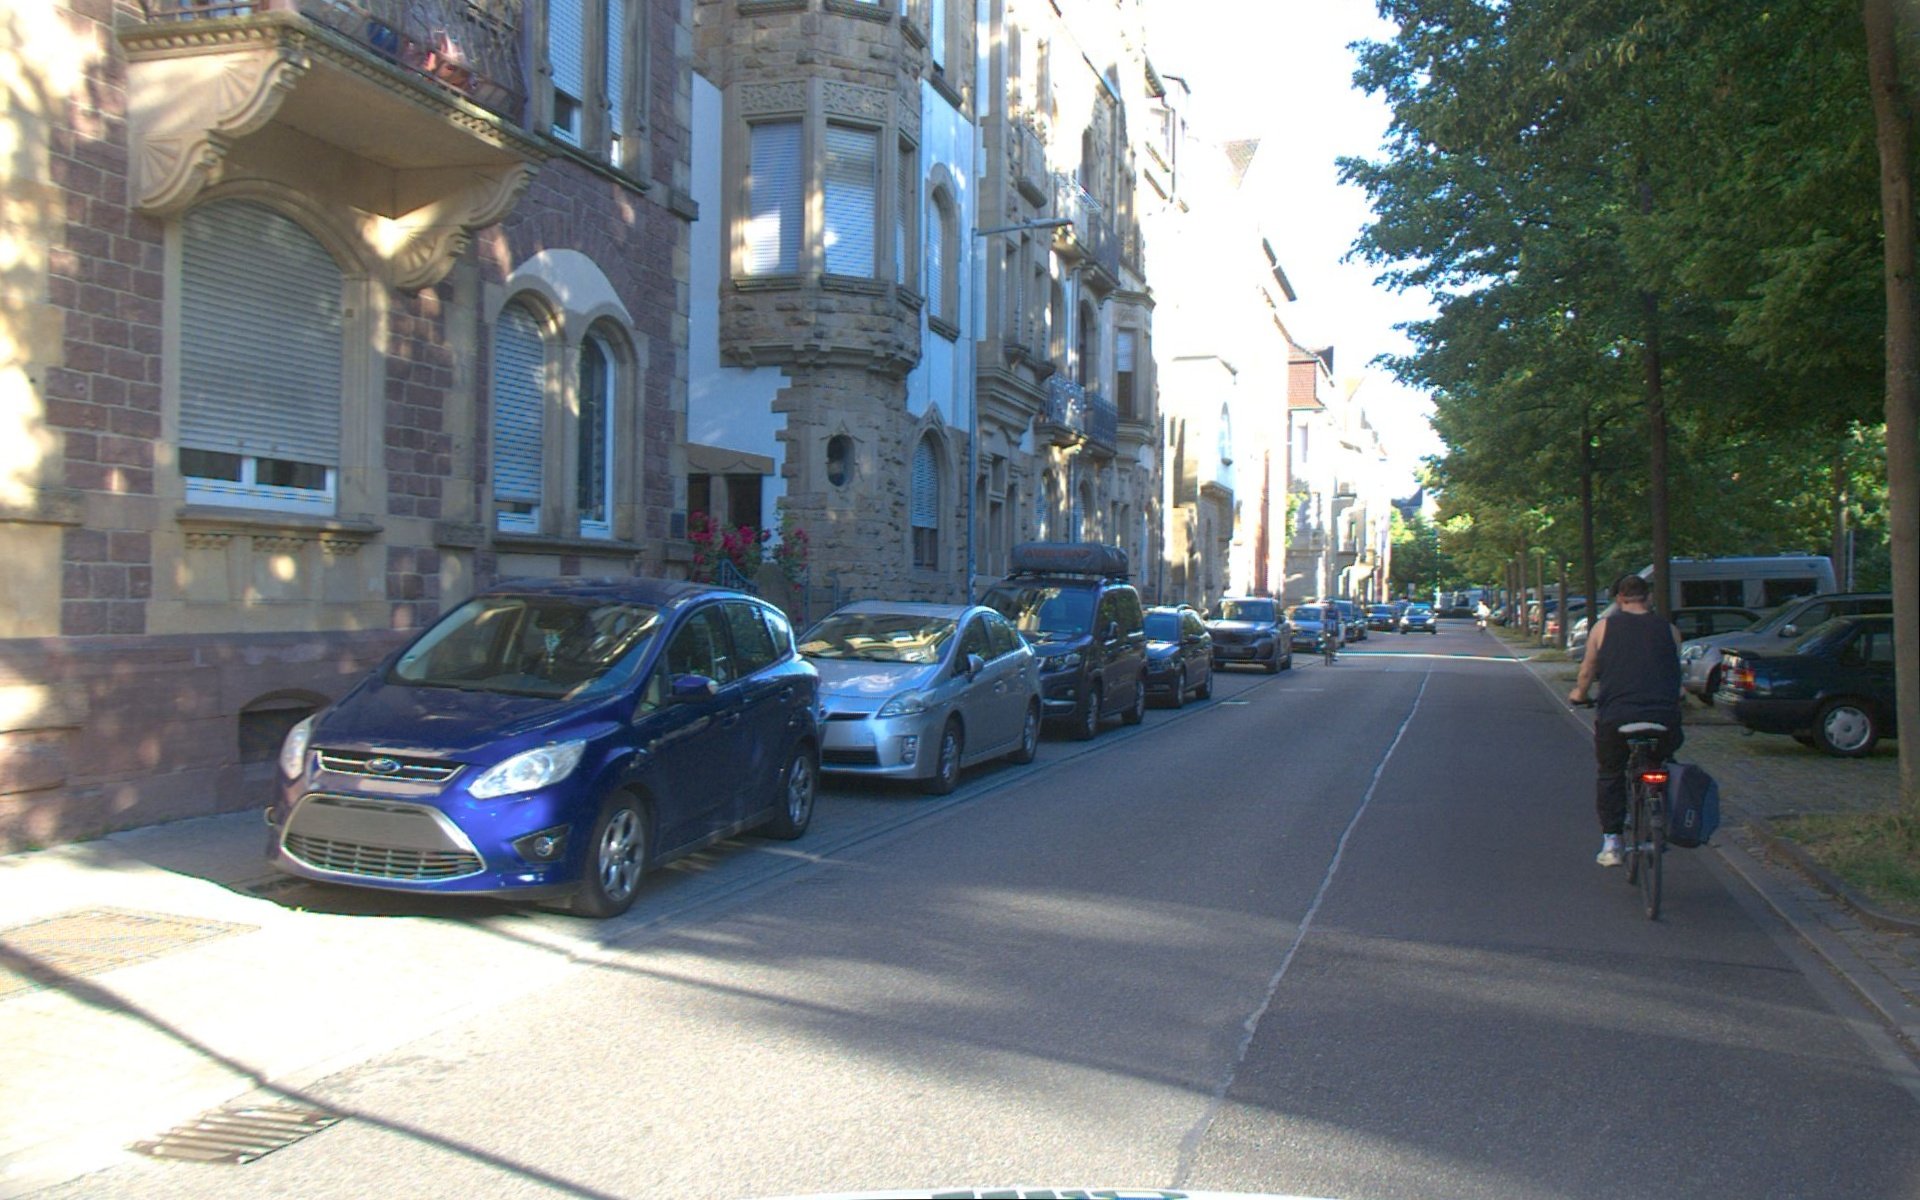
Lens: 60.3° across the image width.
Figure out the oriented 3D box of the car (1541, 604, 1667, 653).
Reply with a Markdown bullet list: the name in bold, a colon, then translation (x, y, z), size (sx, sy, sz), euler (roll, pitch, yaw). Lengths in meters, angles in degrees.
- **car**: translation (23.388, 1.048, 60.248), size (4.154, 1.676, 1.855), euler (-1, -1, 18)

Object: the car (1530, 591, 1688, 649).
- **car**: translation (19.209, 0.595, 49.111), size (4.153, 1.634, 1.755), euler (-1, -1, 14)

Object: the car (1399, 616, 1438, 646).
- **car**: translation (24.268, 1.629, 87.629), size (1.856, 1.512, 4.385), euler (0, -1, 14)

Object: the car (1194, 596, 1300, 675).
- **car**: translation (6.559, 0.799, 37.444), size (2.006, 1.650, 4.398), euler (0, -1, 15)

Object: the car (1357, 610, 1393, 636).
- **car**: translation (24.442, 1.365, 97.428), size (1.951, 1.512, 4.002), euler (0, -1, 16)

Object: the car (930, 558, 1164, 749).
- **car**: translation (1.193, 0.557, 20.149), size (1.927, 2.008, 4.501), euler (2, 1, 15)

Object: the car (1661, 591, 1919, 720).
- **car**: translation (12.825, 0.788, 24.269), size (4.381, 1.699, 1.944), euler (-2, 0, 15)

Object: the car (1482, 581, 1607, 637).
- **car**: translation (36.366, 0.610, 103.101), size (7.179, 3.340, 2.224), euler (-1, -2, 18)

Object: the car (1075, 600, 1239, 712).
- **car**: translation (3.227, 0.846, 26.265), size (1.693, 1.602, 4.710), euler (0, -1, 18)

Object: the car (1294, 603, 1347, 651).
- **car**: translation (12.768, 0.945, 58.417), size (1.460, 1.543, 3.777), euler (4, 1, 17)

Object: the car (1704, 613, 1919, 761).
- **car**: translation (10.544, 0.856, 17.242), size (4.789, 1.467, 1.943), euler (-2, -2, 15)

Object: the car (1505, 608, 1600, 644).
- **car**: translation (31.194, 1.400, 87.188), size (4.657, 1.811, 1.855), euler (-1, -1, 18)

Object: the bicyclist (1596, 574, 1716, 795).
- **bicyclist**: translation (5.108, 0.599, 12.190), size (0.703, 1.553, 0.972), euler (0, -1, 16)

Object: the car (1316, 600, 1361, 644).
- **car**: translation (15.525, 0.909, 67.701), size (1.596, 1.694, 3.971), euler (0, -1, 16)

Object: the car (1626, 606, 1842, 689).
- **car**: translation (14.526, 0.903, 31.234), size (3.426, 1.498, 1.752), euler (-1, -1, 16)

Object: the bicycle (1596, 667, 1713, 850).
- **bicycle**: translation (5.010, 1.093, 12.014), size (0.543, 1.091, 1.970), euler (0, 1, 16)

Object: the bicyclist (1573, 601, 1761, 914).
- **bicyclist**: translation (3.728, 0.795, 8.791), size (0.691, 1.553, 0.973), euler (0, -1, 8)

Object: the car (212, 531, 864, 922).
- **car**: translation (-2.035, 0.577, 9.411), size (1.693, 1.650, 4.261), euler (2, -1, 15)

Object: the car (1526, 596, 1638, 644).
- **car**: translation (25.293, 0.832, 67.425), size (4.154, 1.872, 1.855), euler (-1, -1, 18)

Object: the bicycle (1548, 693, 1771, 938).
- **bicycle**: translation (3.735, 1.095, 8.994), size (0.681, 1.092, 1.970), euler (0, -1, 10)

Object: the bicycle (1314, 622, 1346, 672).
- **bicycle**: translation (9.507, 1.187, 42.476), size (0.737, 1.199, 2.623), euler (-1, 0, 13)

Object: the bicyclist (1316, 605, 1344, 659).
- **bicyclist**: translation (9.501, 0.817, 42.452), size (0.651, 1.368, 1.061), euler (-1, 0, 13)

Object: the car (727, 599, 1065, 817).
- **car**: translation (-0.360, 0.783, 14.435), size (1.693, 1.525, 4.458), euler (2, 1, 15)

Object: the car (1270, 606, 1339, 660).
- **car**: translation (11.088, 1.029, 53.034), size (1.718, 1.543, 4.117), euler (4, 1, 17)

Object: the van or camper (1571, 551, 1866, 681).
- **van or camper**: translation (16.342, 0.383, 36.004), size (5.455, 2.581, 2.270), euler (-2, -2, 15)
